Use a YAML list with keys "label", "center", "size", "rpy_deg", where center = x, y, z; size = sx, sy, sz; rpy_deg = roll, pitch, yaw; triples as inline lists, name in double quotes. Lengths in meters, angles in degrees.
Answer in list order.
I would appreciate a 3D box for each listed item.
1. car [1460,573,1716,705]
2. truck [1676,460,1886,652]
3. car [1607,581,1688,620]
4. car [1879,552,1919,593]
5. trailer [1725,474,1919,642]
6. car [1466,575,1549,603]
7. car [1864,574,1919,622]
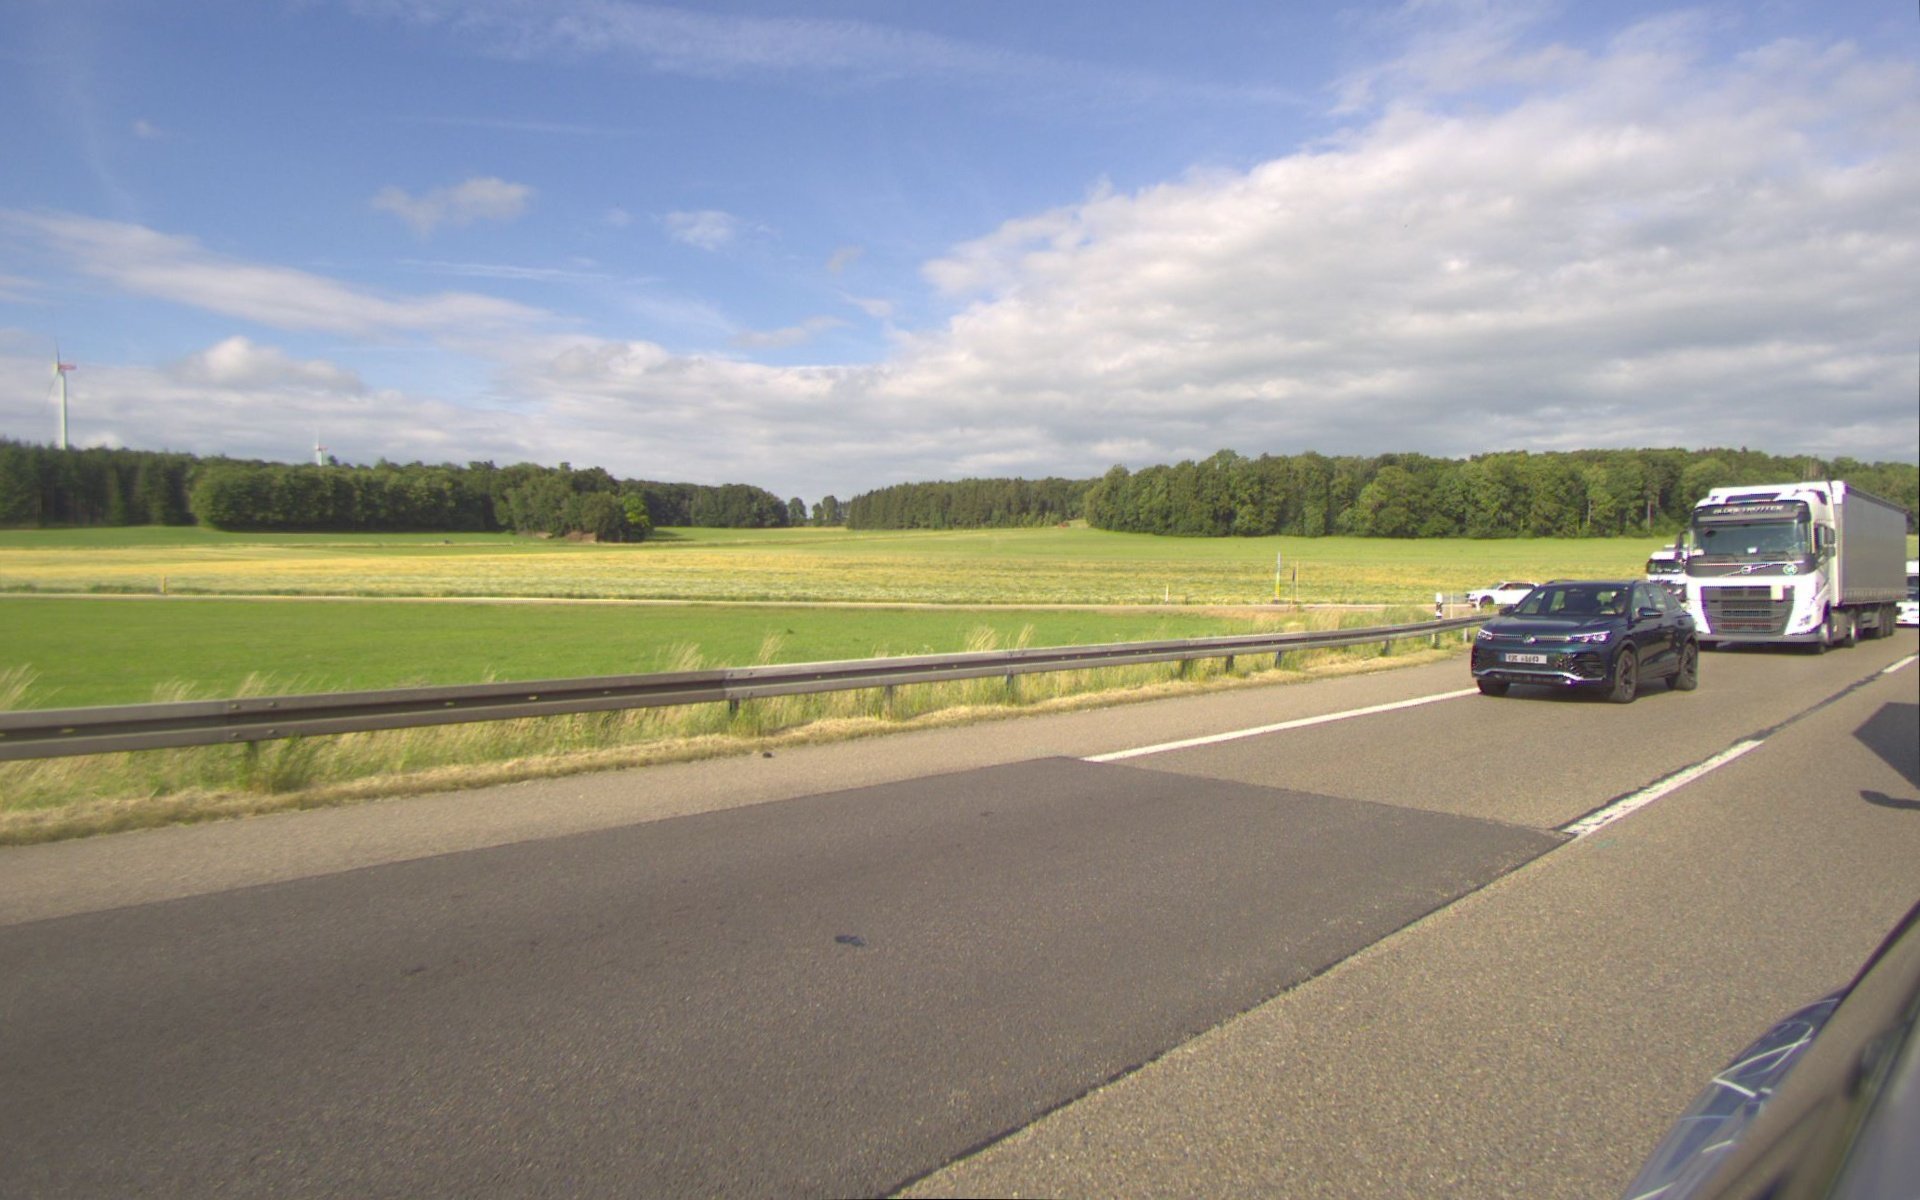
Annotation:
- label: "car"
  center: [9.090, 0.443, 14.533]
  size: [4.047, 1.616, 1.997]
  rpy_deg: [-1, 1, -41]
- label: "truck"
  center: [19.924, -0.981, 24.429]
  size: [6.387, 4.040, 2.840]
  rpy_deg: [-1, 0, -41]
- label: "car"
  center: [29.561, -0.034, 43.452]
  size: [1.994, 1.565, 5.000]
  rpy_deg: [0, 1, 45]
- label: "car"
  center: [41.023, -1.170, 43.396]
  size: [3.931, 1.678, 1.996]
  rpy_deg: [-1, 1, -41]
- label: "trailer"
  center: [25.420, -1.100, 29.265]
  size: [11.916, 4.032, 2.824]
  rpy_deg: [-1, 1, -41]
- label: "car"
  center: [33.071, -0.664, 61.260]
  size: [3.931, 1.638, 1.996]
  rpy_deg: [-1, 0, 7]
- label: "car"
  center: [34.489, -0.112, 36.776]
  size: [3.931, 1.678, 1.996]
  rpy_deg: [-1, 1, -41]
